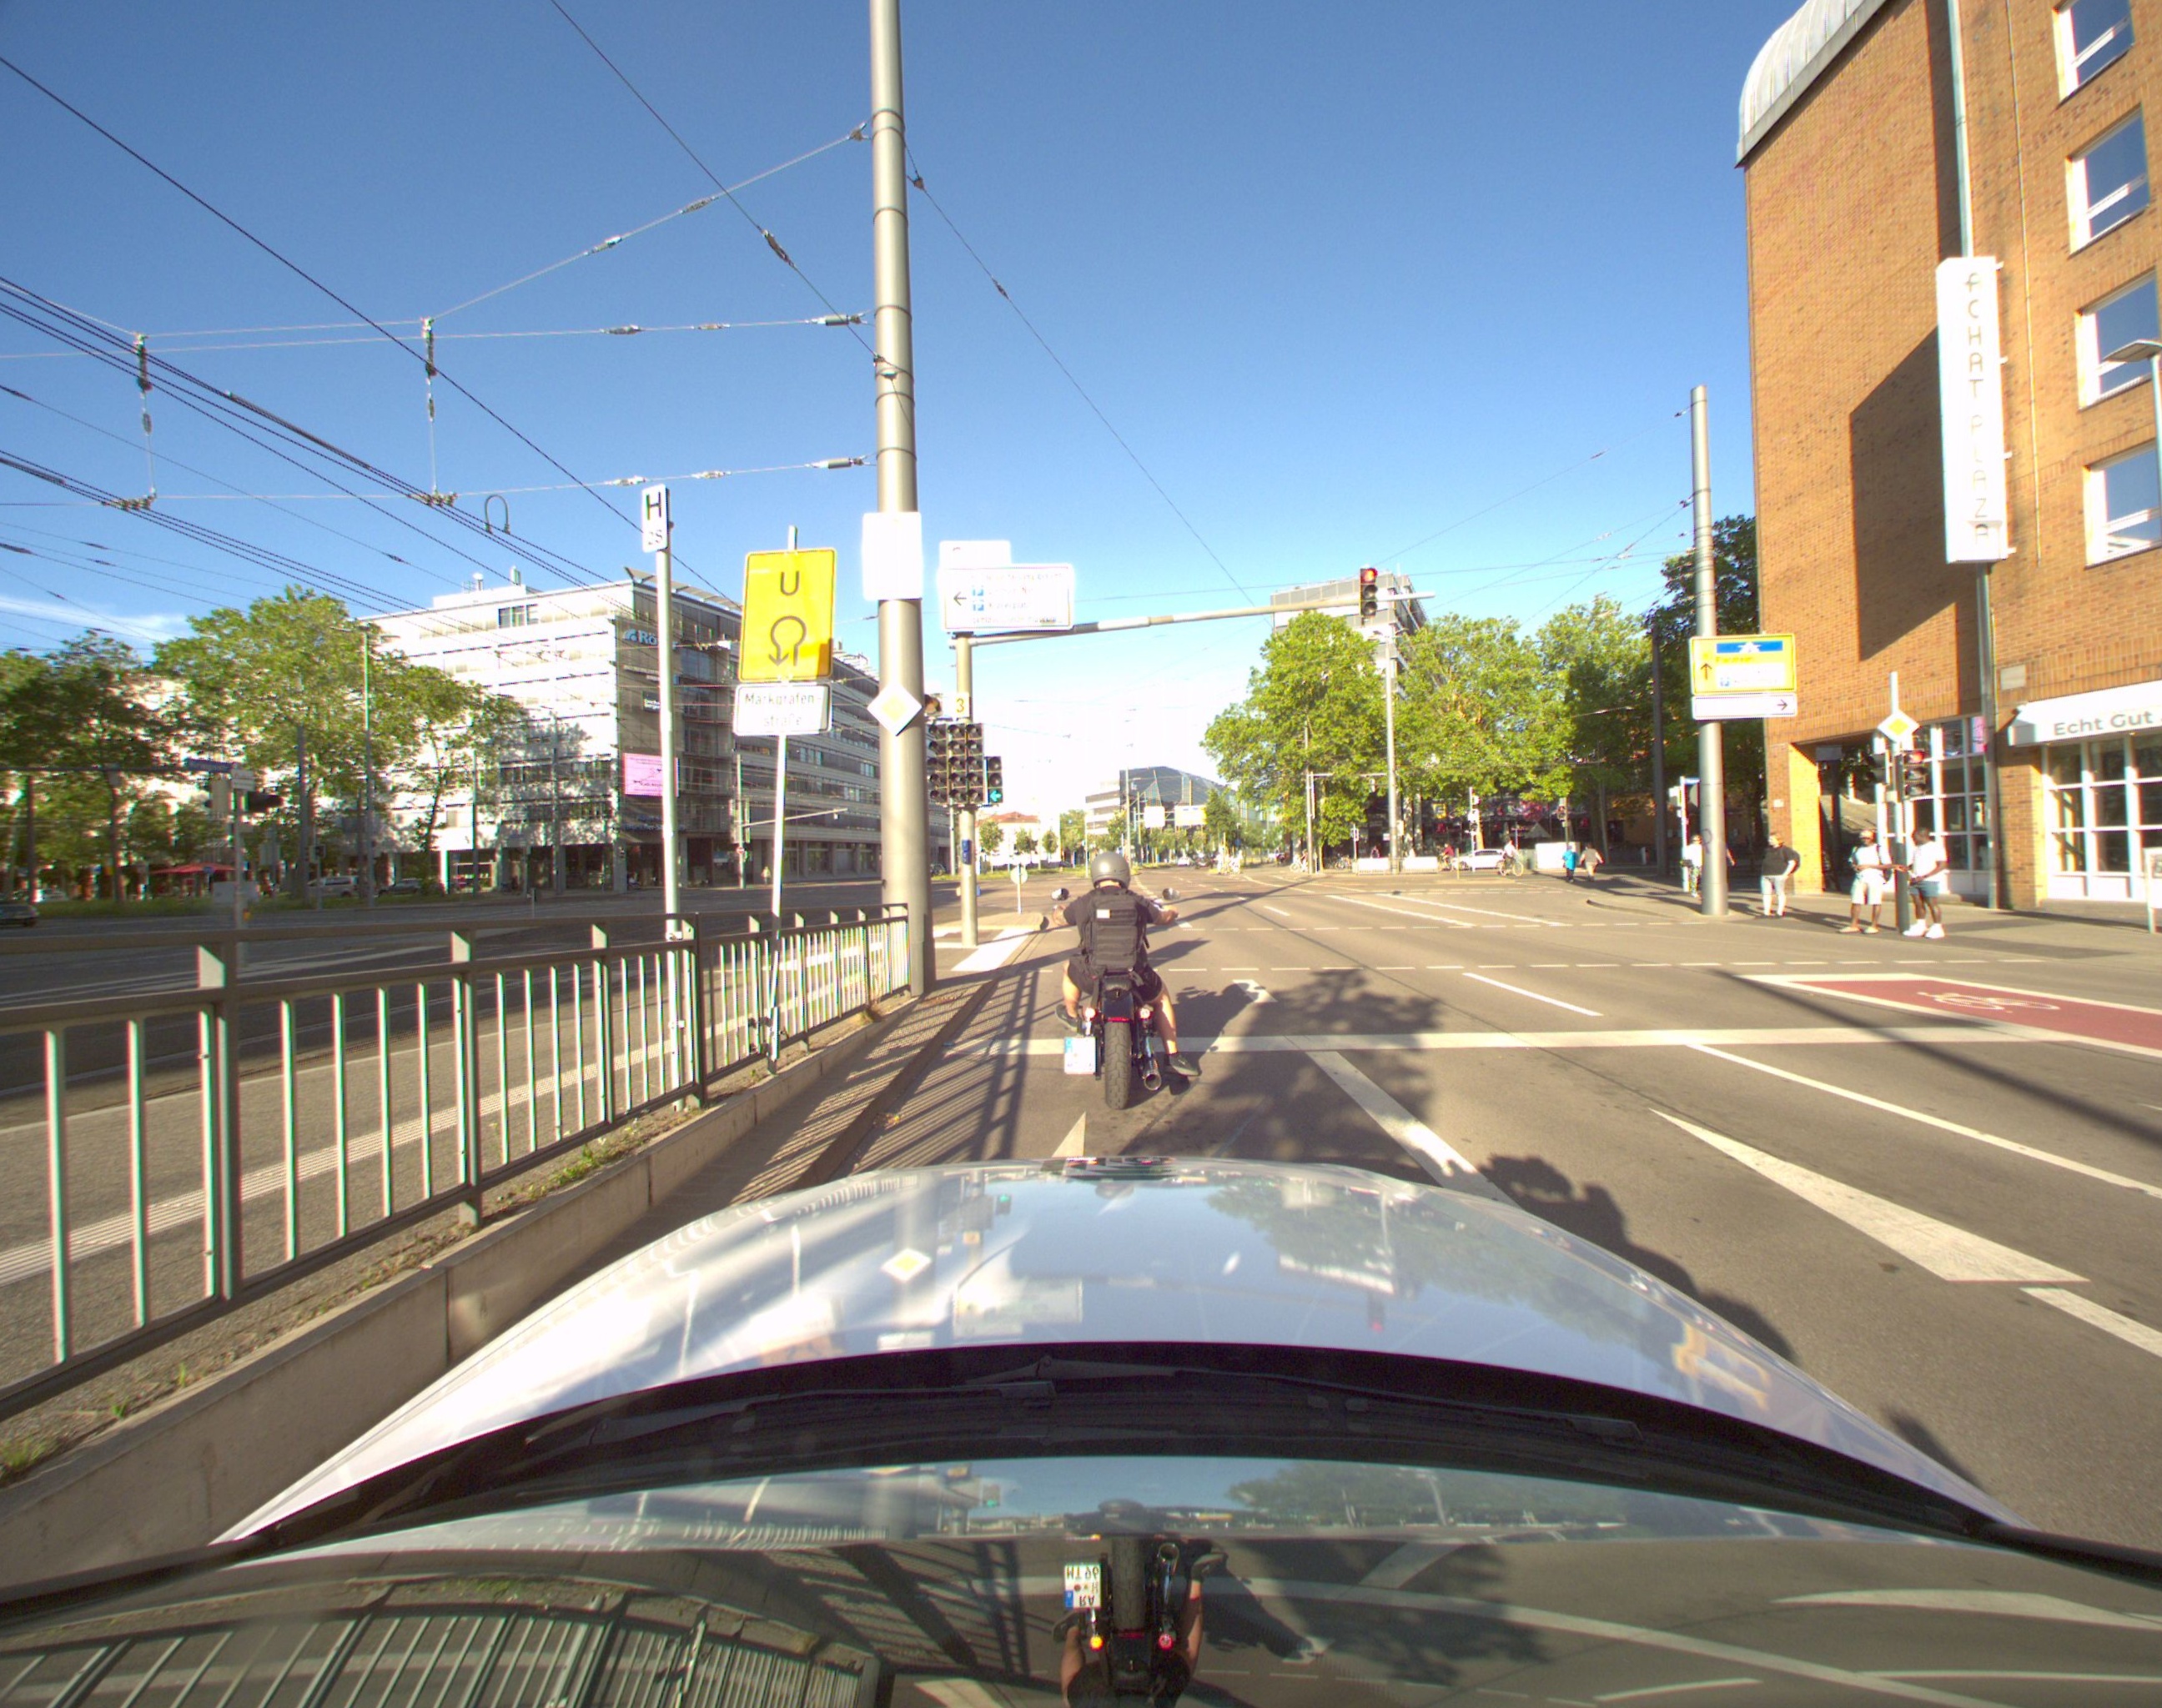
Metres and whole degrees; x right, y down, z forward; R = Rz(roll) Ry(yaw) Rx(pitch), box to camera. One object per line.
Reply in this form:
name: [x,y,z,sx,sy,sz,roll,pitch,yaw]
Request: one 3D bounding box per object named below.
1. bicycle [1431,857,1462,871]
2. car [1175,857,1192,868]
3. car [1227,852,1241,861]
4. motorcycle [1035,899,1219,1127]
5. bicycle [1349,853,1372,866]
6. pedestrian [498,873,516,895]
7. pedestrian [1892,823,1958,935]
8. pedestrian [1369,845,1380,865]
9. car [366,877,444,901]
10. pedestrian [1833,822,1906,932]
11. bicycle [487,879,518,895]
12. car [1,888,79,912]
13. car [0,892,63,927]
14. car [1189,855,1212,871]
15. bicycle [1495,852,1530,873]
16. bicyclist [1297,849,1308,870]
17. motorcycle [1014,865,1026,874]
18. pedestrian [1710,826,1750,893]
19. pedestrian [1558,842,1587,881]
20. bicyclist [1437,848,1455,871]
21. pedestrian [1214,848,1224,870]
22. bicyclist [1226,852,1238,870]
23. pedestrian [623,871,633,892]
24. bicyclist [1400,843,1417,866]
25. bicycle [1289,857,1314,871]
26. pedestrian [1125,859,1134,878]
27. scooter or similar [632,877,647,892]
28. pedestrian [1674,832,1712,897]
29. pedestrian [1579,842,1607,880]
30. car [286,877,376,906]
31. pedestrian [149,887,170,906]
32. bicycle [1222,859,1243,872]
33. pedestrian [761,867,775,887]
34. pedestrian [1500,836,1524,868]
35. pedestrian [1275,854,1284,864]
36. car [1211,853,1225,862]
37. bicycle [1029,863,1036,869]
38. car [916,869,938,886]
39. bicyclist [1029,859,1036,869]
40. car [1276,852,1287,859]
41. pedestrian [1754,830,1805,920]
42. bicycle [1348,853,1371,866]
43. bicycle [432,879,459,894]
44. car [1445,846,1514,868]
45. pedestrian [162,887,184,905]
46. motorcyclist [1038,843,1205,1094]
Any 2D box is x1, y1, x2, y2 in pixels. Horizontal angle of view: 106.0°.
bicycle: [25.115,0.673,56.019,1.844,0.910,0.653,-2,0,6]
car: [15.694,1.301,124.885,1.886,1.508,4.018,-1,-1,18]
car: [30.125,0.490,160.413,1.704,1.484,3.776,-2,0,25]
motorcycle: [0.287,0.941,5.640,1.002,1.125,2.324,0,0,2]
bicycle: [22.319,0.420,64.948,1.692,0.986,0.392,-2,0,15]
pedestrian: [-43.562,2.269,61.823,0.831,1.610,0.607,-1,2,3]
pedestrian: [13.775,0.401,13.299,0.401,1.774,0.581,-4,-1,11]
pedestrian: [27.102,0.092,75.248,0.840,1.852,0.813,1,0,16]
car: [-50.840,2.621,61.293,4.378,1.572,1.869,-2,2,6]
pedestrian: [13.590,0.391,14.048,0.500,1.833,0.725,-3,-1,-33]
bicycle: [-43.637,2.483,61.437,1.834,1.163,0.613,-1,3,3]
car: [-79.706,3.511,62.368,3.835,1.638,1.869,-2,0,6]
car: [-44.878,2.286,33.578,3.599,1.328,1.655,0,-1,-1]
car: [14.690,1.078,99.885,2.036,1.874,4.247,-1,-1,20]
bicycle: [22.068,0.451,41.671,0.786,1.052,1.924,0,-1,2]
bicyclist: [17.591,0.429,64.619,0.737,1.694,0.572,-2,-1,13]
motorcycle: [-9.699,2.448,129.787,0.976,1.232,2.953,-2,-1,13]
pedestrian: [17.053,0.146,21.408,0.598,1.727,0.604,-1,-1,10]
pedestrian: [19.908,0.308,32.989,0.674,1.540,0.741,0,-1,-6]
bicyclist: [25.126,0.377,56.014,0.921,1.615,0.638,-2,-1,5]
pedestrian: [11.749,0.418,69.200,0.693,1.837,0.518,-1,-1,37]
bicyclist: [12.404,0.566,66.848,0.736,1.503,0.573,-3,-1,25]
pedestrian: [-36.494,2.220,65.573,0.640,1.708,0.576,-1,-1,-28]
bicyclist: [29.085,0.051,72.344,1.217,1.931,0.839,-2,0,17]
bicycle: [17.484,0.794,64.658,1.840,1.021,0.518,-2,-1,13]
pedestrian: [4.104,1.248,68.848,0.654,1.582,0.490,-1,0,5]
scooter or similar: [-35.745,2.484,65.949,1.021,1.129,0.545,-2,0,-27]
pedestrian: [16.296,0.277,21.694,0.557,1.704,0.661,-1,-1,11]
pedestrian: [20.747,0.284,32.999,0.649,1.540,0.741,0,-1,-6]
car: [-56.238,2.787,61.118,4.888,1.843,1.930,-2,2,3]
pedestrian: [-81.904,3.773,72.385,0.985,1.546,0.875,-2,-1,9]
bicycle: [12.438,0.914,66.836,1.612,1.021,0.519,-2,-1,25]
pedestrian: [-28.528,2.099,74.212,0.670,1.823,0.888,-3,-1,12]
pedestrian: [22.059,-0.098,41.701,0.767,1.594,0.838,0,-1,1]
pedestrian: [21.955,0.552,90.102,0.777,1.057,0.819,-2,0,24]
car: [25.111,0.648,149.022,1.705,1.657,3.774,-2,0,22]
bicycle: [-8.245,2.048,138.435,0.637,1.107,1.693,-2,0,20]
car: [-14.587,2.186,77.266,1.790,1.466,4.300,-2,0,-7]
bicyclist: [-8.265,1.710,138.402,0.757,1.667,0.998,-2,0,19]
car: [43.932,0.389,178.769,1.826,1.464,4.021,-1,-1,21]
pedestrian: [14.236,0.411,16.594,0.577,1.767,0.687,-1,0,-39]
bicycle: [22.515,0.459,65.789,1.692,0.986,0.392,-2,0,15]
bicycle: [-51.172,2.606,65.633,0.466,1.151,1.843,-1,1,9]
car: [28.177,0.207,57.675,3.967,1.486,2.003,-1,-1,6]
pedestrian: [-80.584,3.762,72.301,0.986,1.546,0.874,-2,-1,6]
motorcyclist: [0.271,0.714,5.697,1.018,1.552,1.287,0,0,1]
